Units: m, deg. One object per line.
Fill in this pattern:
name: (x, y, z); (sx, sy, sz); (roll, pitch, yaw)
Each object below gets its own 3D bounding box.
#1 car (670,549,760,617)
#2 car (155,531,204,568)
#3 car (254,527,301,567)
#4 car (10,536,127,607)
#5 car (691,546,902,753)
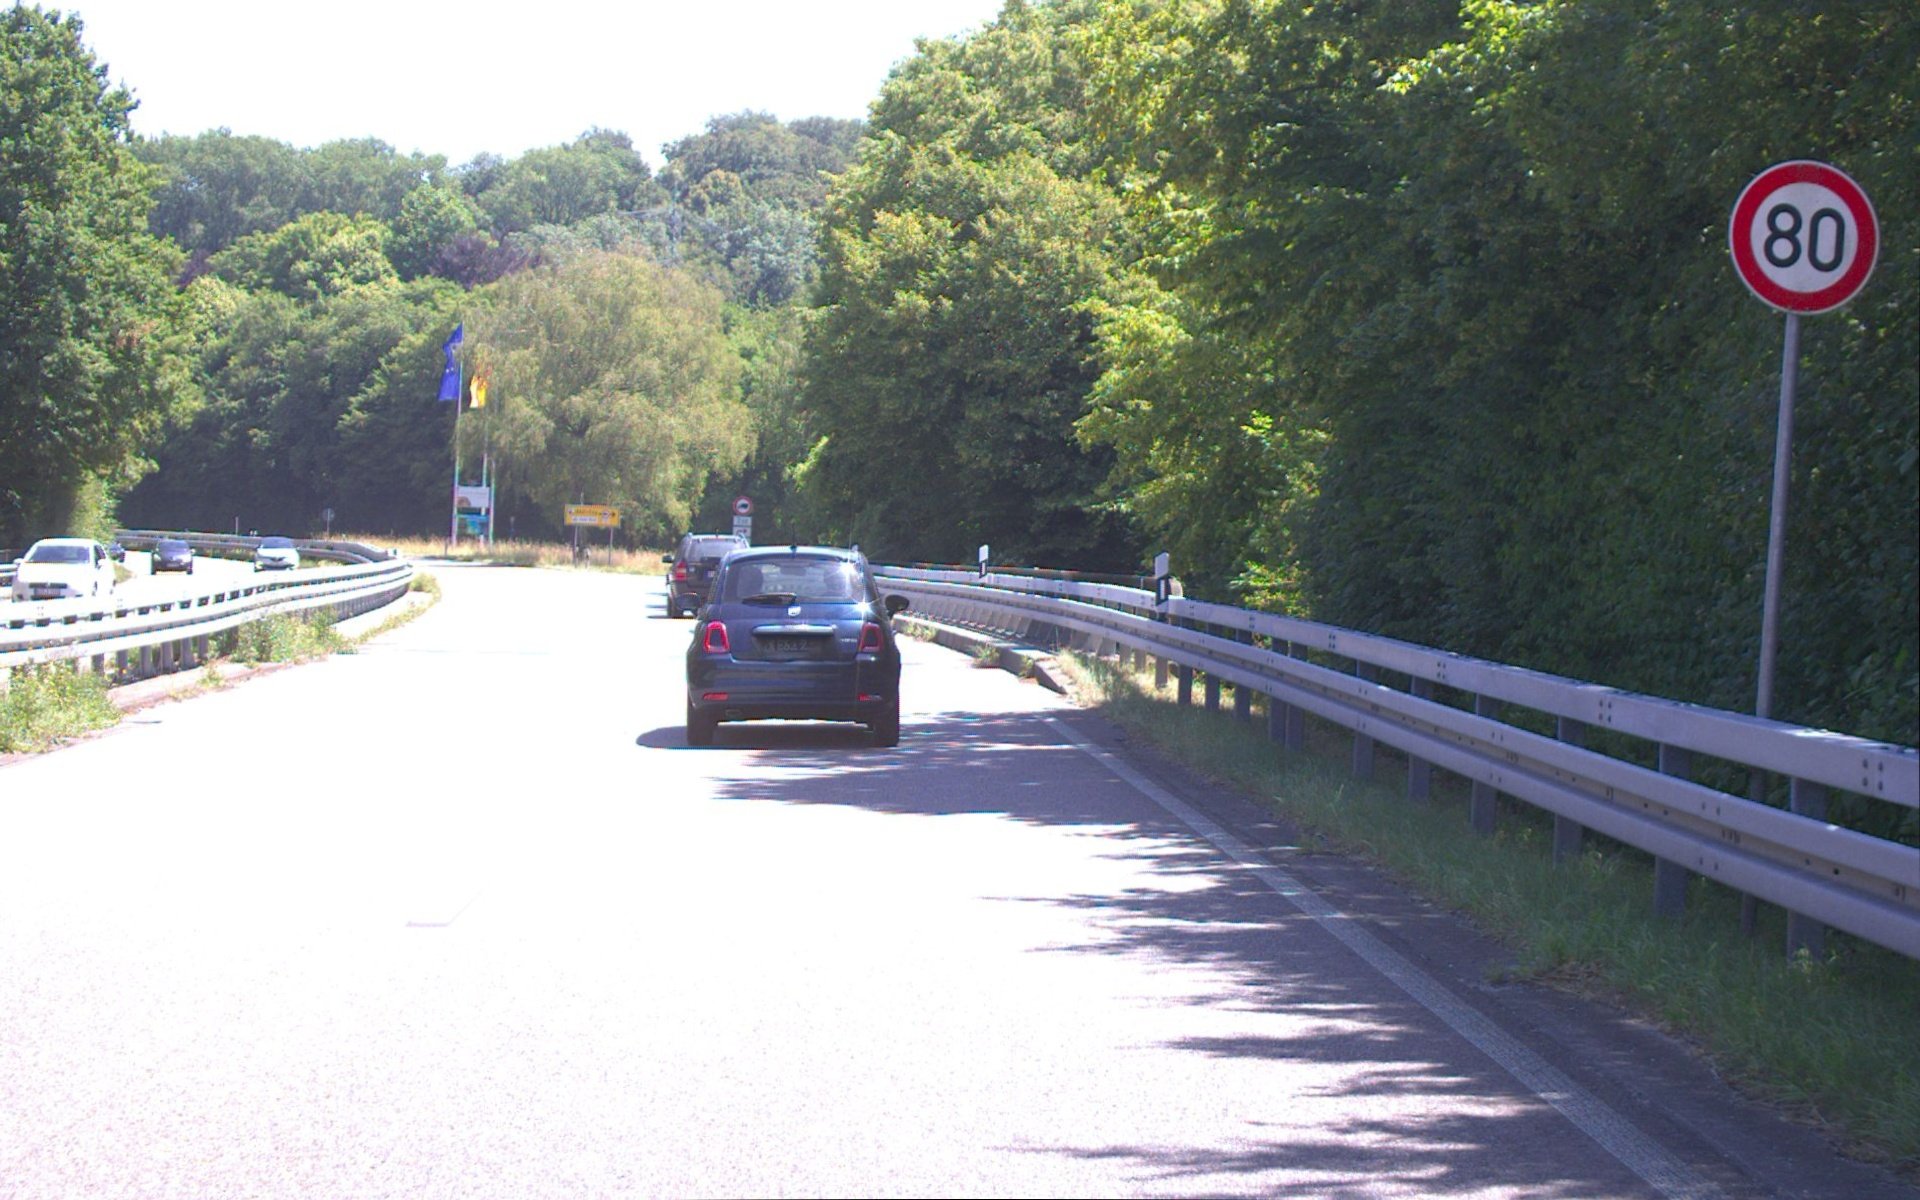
car: (-4.955, -0.352, 69.179); (1.525, 1.309, 3.416); (0, 1, -9)
car: (-32.822, -2.115, 144.622); (1.651, 1.523, 3.999); (0, 1, -7)
car: (-28.128, -2.201, 141.800); (1.651, 1.601, 4.221); (0, 1, -7)
car: (-18.730, -0.622, 72.368); (1.651, 1.442, 4.220); (0, 1, -4)
car: (-1.222, 0.332, 26.853); (1.513, 1.495, 3.590); (0, 1, -1)
